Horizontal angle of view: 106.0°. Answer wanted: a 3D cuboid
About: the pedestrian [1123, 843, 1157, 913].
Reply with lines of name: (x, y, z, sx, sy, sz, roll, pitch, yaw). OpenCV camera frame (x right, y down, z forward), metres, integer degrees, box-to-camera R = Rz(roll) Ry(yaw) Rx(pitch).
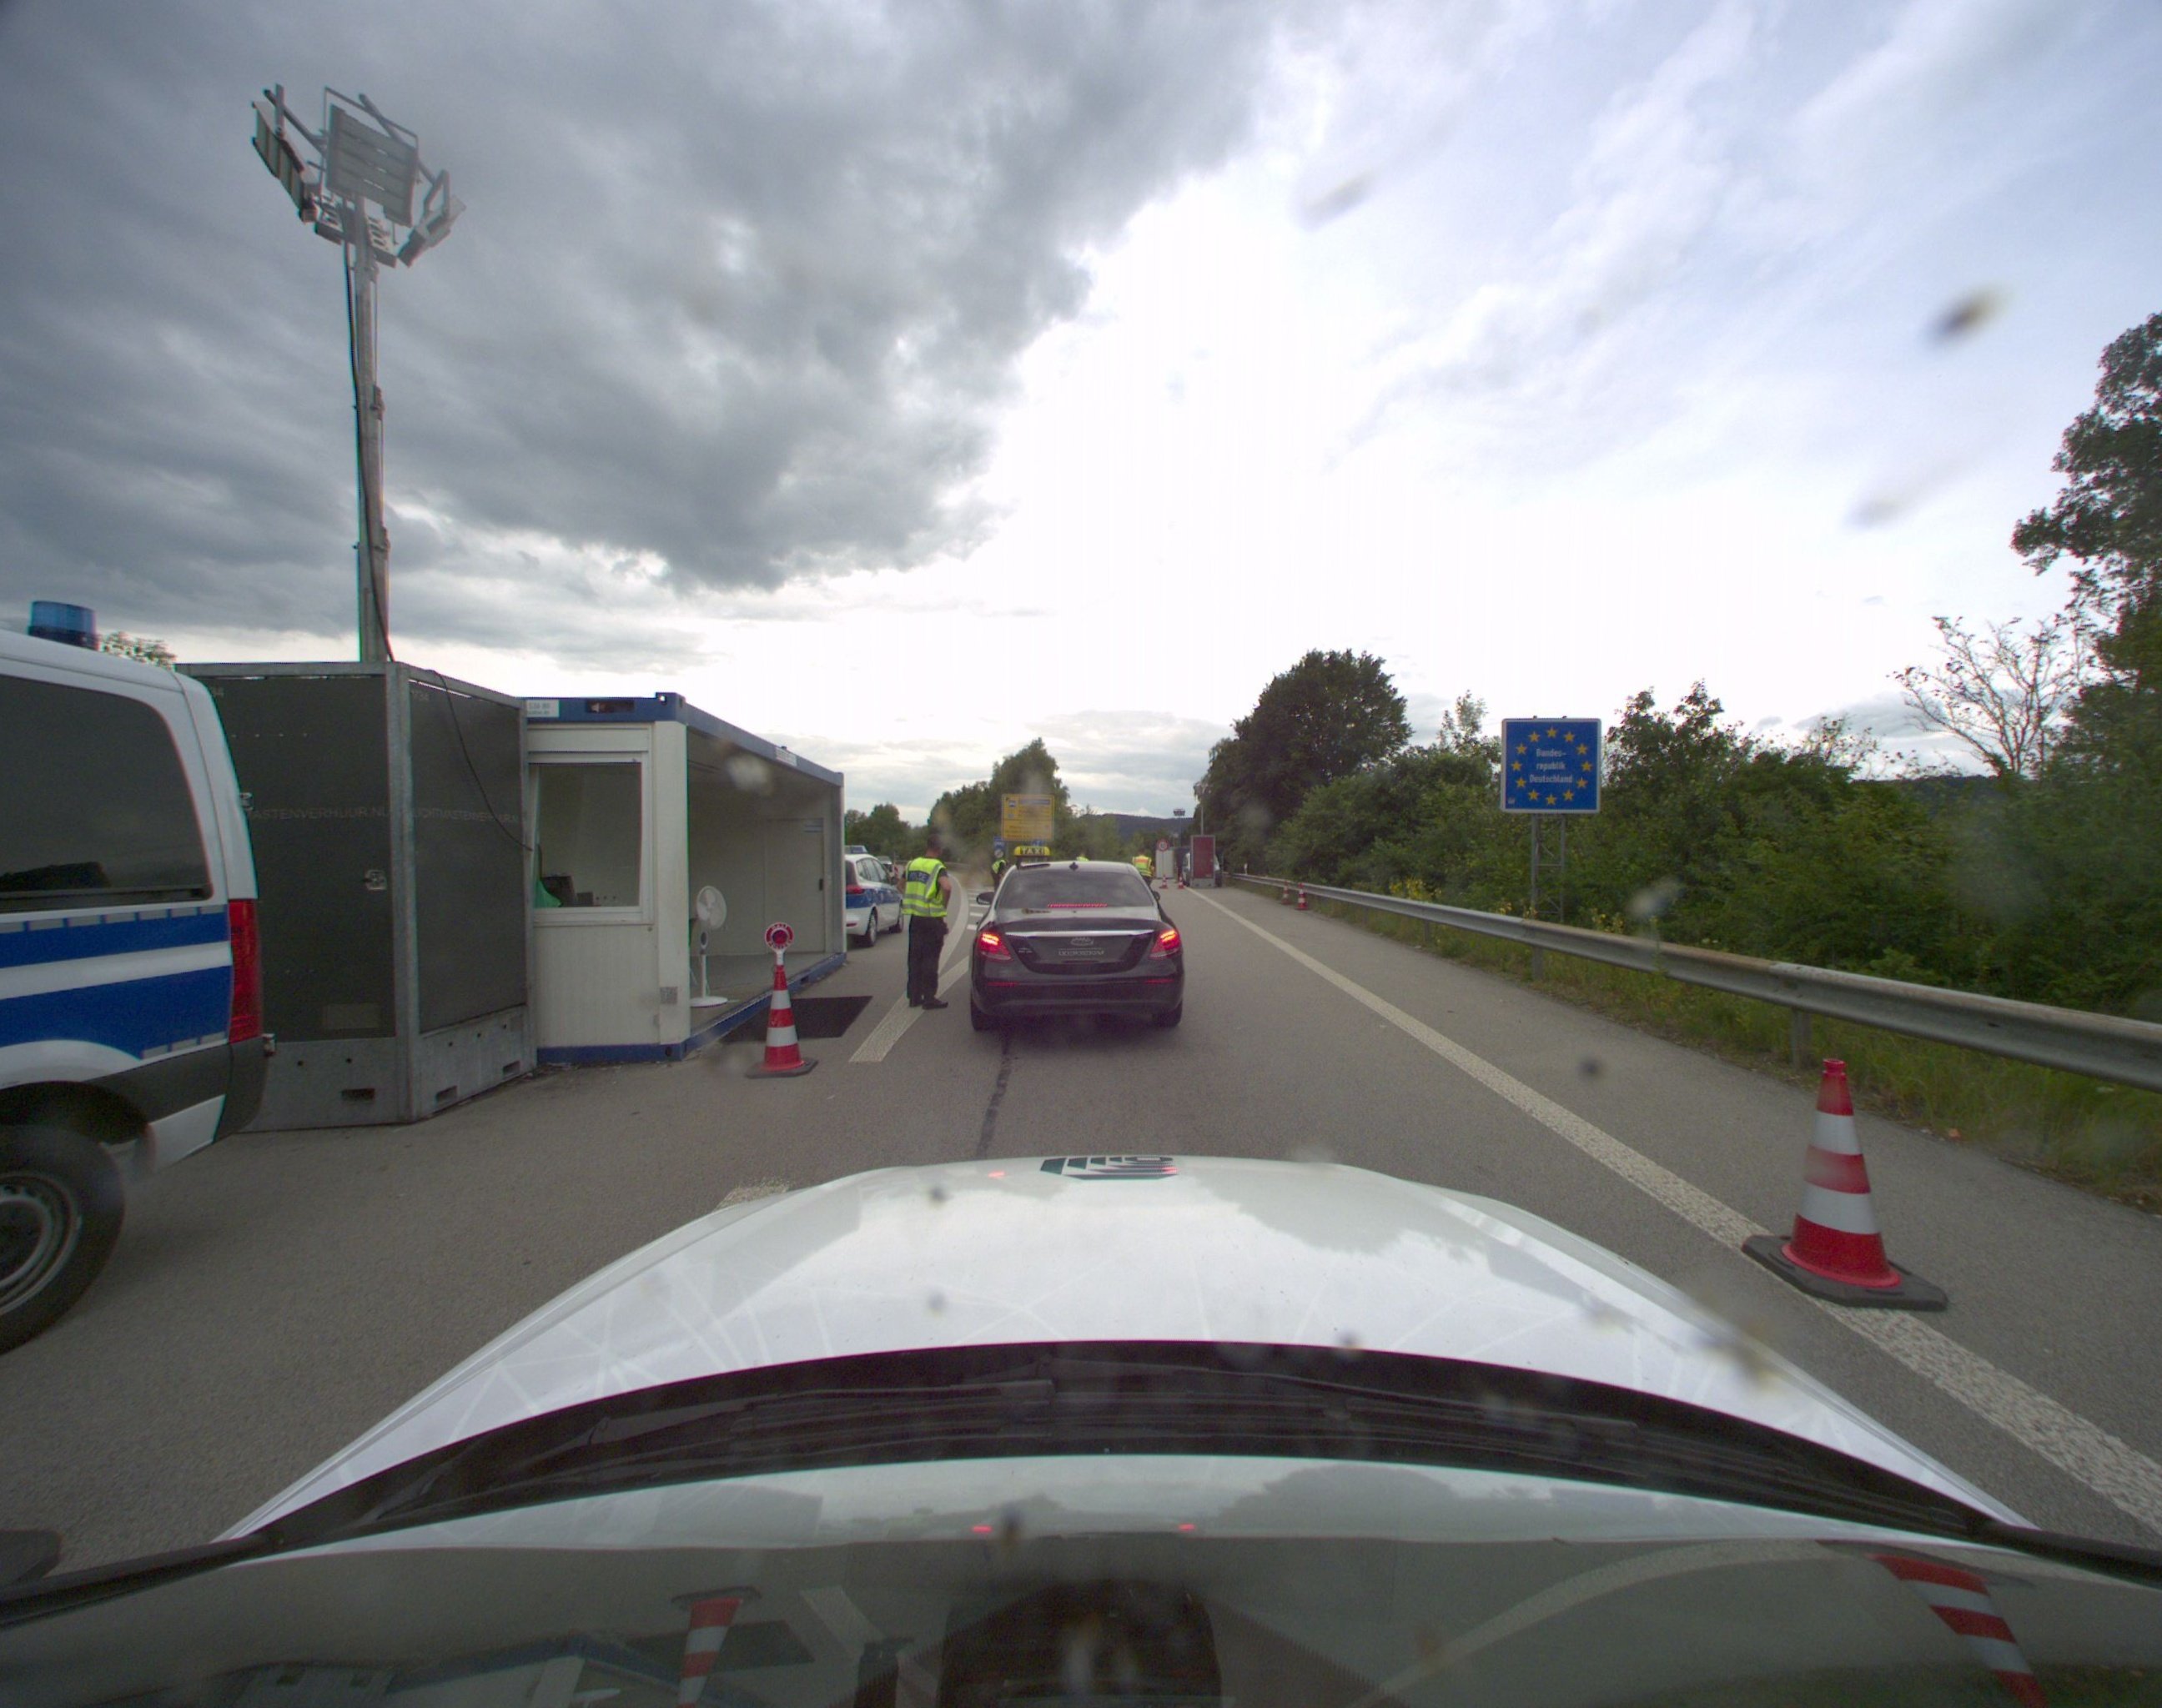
pedestrian: (1.588, 0.631, 21.940, 0.807, 1.830, 0.812, -1, -1, 9)

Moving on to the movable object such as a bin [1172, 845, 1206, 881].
movable object such as a bin: (7.190, 0.597, 54.620, 1.984, 2.280, 4.172, -1, 0, 4)

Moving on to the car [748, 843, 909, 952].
car: (-4.541, 0.716, 15.295, 1.864, 1.743, 4.005, -1, 0, -2)

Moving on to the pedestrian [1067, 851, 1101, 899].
pedestrian: (0.112, 0.763, 29.692, 0.914, 1.698, 0.905, 0, -1, -30)

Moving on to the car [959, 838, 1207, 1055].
car: (-0.082, 0.695, 8.331, 1.851, 1.595, 4.371, -1, 0, -3)

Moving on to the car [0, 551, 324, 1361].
car: (-4.260, 0.315, 0.879, 2.023, 2.463, 5.276, -1, 0, -2)

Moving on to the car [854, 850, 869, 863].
car: (-36.197, 0.427, 134.164, 1.863, 2.222, 4.225, -1, 0, -22)

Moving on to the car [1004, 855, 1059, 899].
car: (-1.810, 0.819, 30.961, 1.850, 1.498, 4.255, -1, 0, -1)

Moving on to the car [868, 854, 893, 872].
car: (-17.535, 0.806, 71.373, 1.856, 1.498, 4.240, -1, 0, -11)

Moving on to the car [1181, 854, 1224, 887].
car: (6.751, 0.872, 45.779, 1.908, 1.678, 5.087, 1, 0, 3)

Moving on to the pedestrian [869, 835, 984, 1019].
pedestrian: (-1.548, 0.686, 8.183, 0.752, 1.718, 0.823, -2, -1, 39)

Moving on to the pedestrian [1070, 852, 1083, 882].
pedestrian: (-0.283, 0.855, 54.298, 0.659, 1.961, 0.763, -1, -1, 17)

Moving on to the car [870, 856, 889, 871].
car: (-21.638, 0.978, 87.429, 1.859, 1.498, 4.234, -1, 0, -16)

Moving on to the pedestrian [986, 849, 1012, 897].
pedestrian: (-3.092, 0.722, 30.852, 0.908, 1.769, 0.911, -1, 0, -1)
